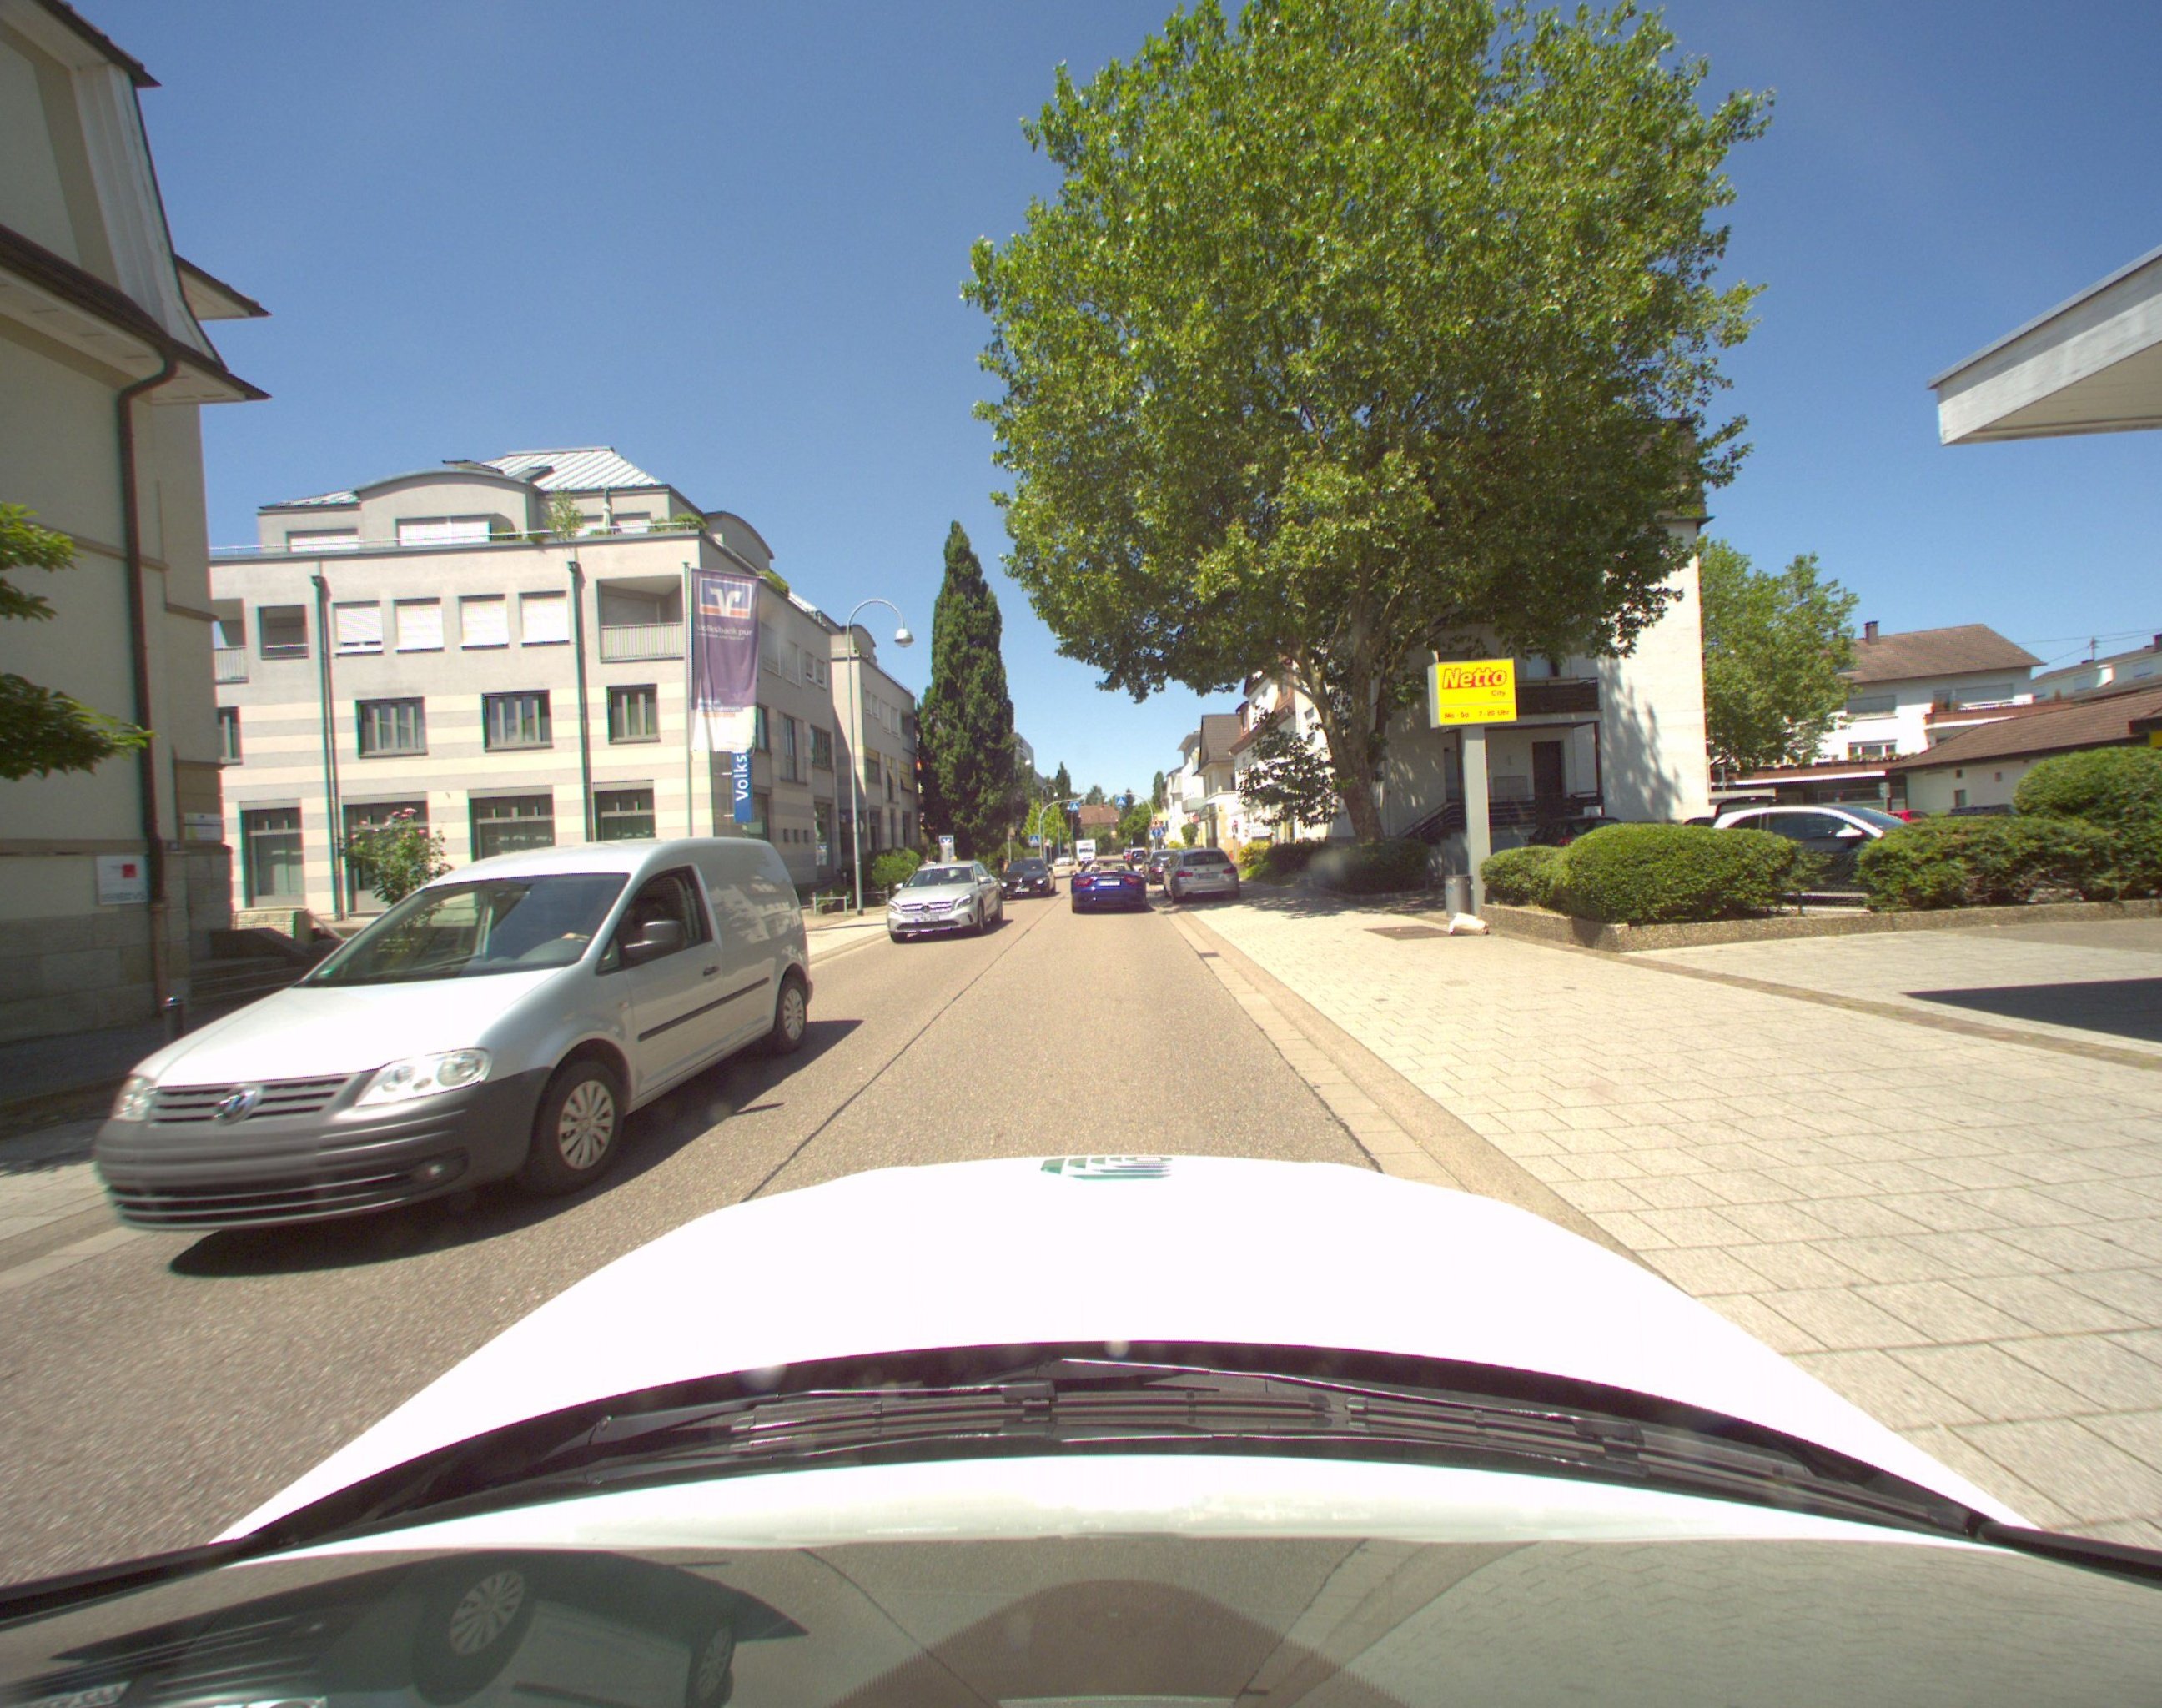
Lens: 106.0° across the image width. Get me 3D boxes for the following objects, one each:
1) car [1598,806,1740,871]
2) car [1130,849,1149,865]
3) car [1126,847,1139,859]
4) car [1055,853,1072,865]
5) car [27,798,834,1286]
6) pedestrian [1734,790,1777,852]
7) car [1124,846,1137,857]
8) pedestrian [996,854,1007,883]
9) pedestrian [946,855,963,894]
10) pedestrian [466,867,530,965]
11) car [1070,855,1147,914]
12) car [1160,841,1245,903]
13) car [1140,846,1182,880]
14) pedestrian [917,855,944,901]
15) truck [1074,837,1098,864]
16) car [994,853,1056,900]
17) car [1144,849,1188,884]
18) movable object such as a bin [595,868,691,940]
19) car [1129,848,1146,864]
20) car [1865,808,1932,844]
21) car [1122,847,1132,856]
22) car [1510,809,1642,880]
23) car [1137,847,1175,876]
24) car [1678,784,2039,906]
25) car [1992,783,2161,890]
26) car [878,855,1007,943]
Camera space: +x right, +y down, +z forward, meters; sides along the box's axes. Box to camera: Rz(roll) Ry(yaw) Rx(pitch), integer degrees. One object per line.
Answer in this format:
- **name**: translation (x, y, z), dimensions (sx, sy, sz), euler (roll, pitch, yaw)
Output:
- **car**: translation (16.046, -0.405, 22.470), dimensions (1.824, 1.536, 3.770), euler (-3, 0, 13)
- **car**: translation (5.780, 0.313, 81.014), dimensions (1.698, 1.556, 4.750), euler (-1, -1, 3)
- **car**: translation (6.826, -0.144, 108.656), dimensions (1.597, 1.440, 3.856), euler (-6, 0, 3)
- **car**: translation (-2.144, 0.583, 101.461), dimensions (1.815, 1.411, 4.580), euler (-2, 0, 2)
- **car**: translation (-3.255, 0.750, 5.374), dimensions (1.695, 1.826, 4.233), euler (-5, 0, 2)
- **pedestrian**: translation (16.602, -0.800, 20.060), dimensions (0.599, 1.468, 0.517), euler (-3, 0, 13)
- **car**: translation (7.631, -0.380, 125.726), dimensions (1.836, 1.619, 4.430), euler (-5, 0, 3)
- **pedestrian**: translation (-4.855, 0.881, 49.661), dimensions (0.534, 1.685, 0.709), euler (-3, 0, 2)
- **pedestrian**: translation (-5.540, 0.894, 35.749), dimensions (0.534, 1.685, 0.709), euler (-3, 0, 2)
- **pedestrian**: translation (-10.470, 1.088, 14.648), dimensions (0.538, 1.674, 0.735), euler (-3, 0, 1)
- **car**: translation (0.751, 0.746, 21.975), dimensions (1.819, 1.337, 4.703), euler (-2, 0, 2)
- **car**: translation (3.425, 0.477, 23.856), dimensions (1.822, 1.511, 4.761), euler (-4, 0, 2)
- **car**: translation (4.027, 0.428, 41.535), dimensions (1.737, 1.468, 4.854), euler (-5, 0, 2)
- **pedestrian**: translation (-5.676, 0.882, 30.698), dimensions (0.746, 1.644, 0.849), euler (-3, 2, 1)
- **truck**: translation (0.647, -0.404, 96.253), dimensions (2.410, 2.983, 6.261), euler (-3, 0, 2)
- **car**: translation (-2.008, 0.793, 30.517), dimensions (1.822, 1.511, 4.264), euler (-4, 0, 2)
- **car**: translation (3.681, 0.530, 35.918), dimensions (1.552, 1.340, 4.175), euler (-4, 0, 2)
- **movable object such as a bin**: translation (-9.581, 1.063, 17.887), dimensions (1.381, 1.488, 1.295), euler (0, 0, 2)
- **car**: translation (6.024, 0.169, 86.982), dimensions (1.698, 1.666, 4.583), euler (-1, 0, 3)
- **car**: translation (39.106, -1.369, 38.955), dimensions (3.741, 1.508, 1.621), euler (-3, 0, -35)
- **car**: translation (7.896, -0.426, 140.330), dimensions (1.625, 1.446, 4.400), euler (-6, 0, 2)
- **car**: translation (12.538, -0.239, 20.909), dimensions (1.673, 1.543, 4.114), euler (-3, 0, 14)
- **car**: translation (4.208, 0.407, 46.351), dimensions (1.820, 1.426, 4.703), euler (-5, 0, 2)
- **car**: translation (11.195, -0.100, 11.972), dimensions (1.742, 1.499, 3.431), euler (-3, 0, -29)
- **car**: translation (16.084, -0.277, 11.670), dimensions (1.736, 1.499, 3.610), euler (-2, -1, -16)
- **car**: translation (-2.775, 0.844, 17.201), dimensions (1.822, 1.511, 4.033), euler (-4, 0, 2)
